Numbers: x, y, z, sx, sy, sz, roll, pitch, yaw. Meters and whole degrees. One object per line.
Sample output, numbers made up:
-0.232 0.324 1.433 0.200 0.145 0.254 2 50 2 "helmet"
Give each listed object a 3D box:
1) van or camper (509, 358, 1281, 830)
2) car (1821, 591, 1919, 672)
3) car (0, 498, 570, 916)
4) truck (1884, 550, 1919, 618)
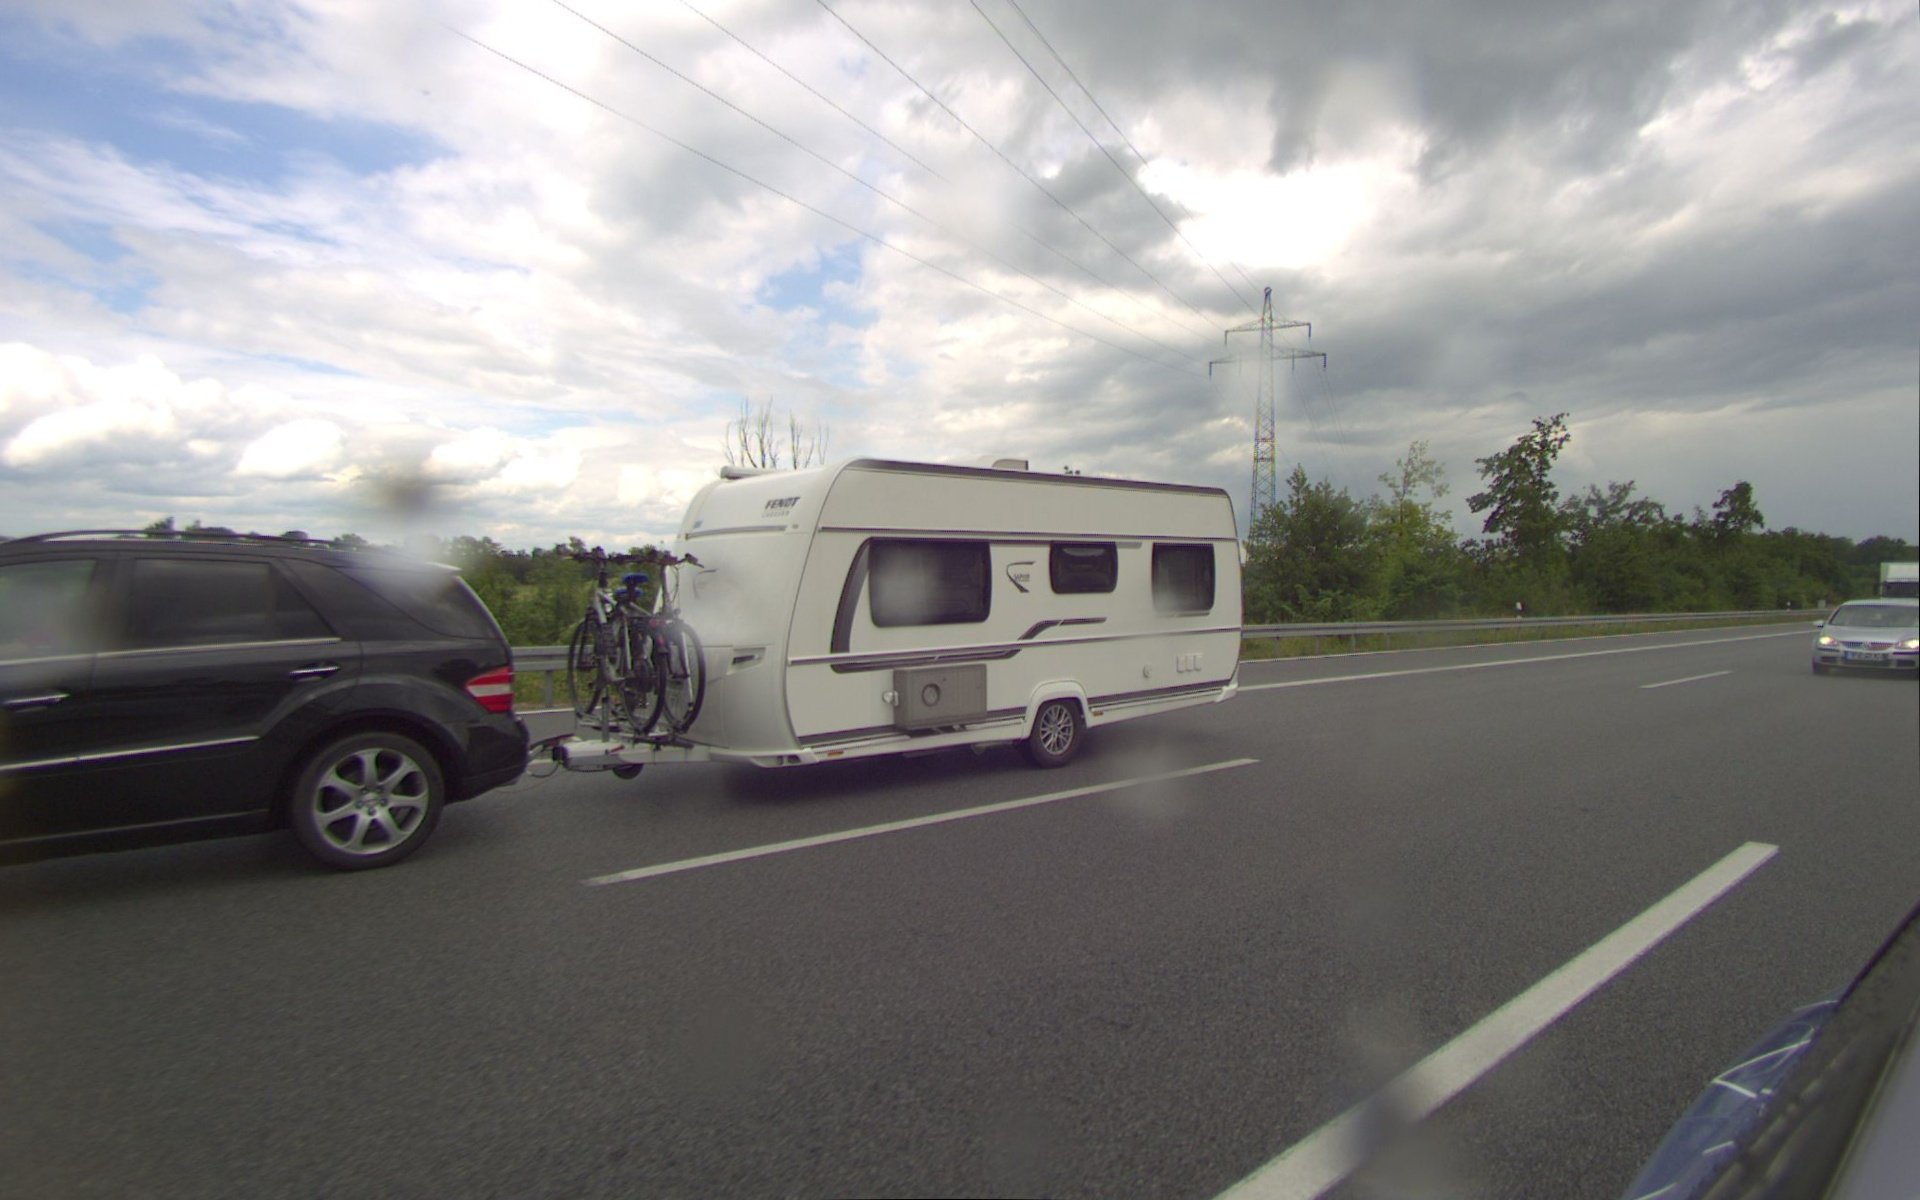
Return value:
-0.028 -0.071 9.220 7.085 2.773 2.387 -1 0 -42 "van or camper"
18.635 0.566 20.128 3.929 1.464 1.682 -1 1 -40 "car"
-4.586 0.451 5.230 4.425 1.798 1.923 -1 1 -42 "car"
55.461 -0.912 57.691 9.425 3.700 2.868 -1 0 -40 "truck"
